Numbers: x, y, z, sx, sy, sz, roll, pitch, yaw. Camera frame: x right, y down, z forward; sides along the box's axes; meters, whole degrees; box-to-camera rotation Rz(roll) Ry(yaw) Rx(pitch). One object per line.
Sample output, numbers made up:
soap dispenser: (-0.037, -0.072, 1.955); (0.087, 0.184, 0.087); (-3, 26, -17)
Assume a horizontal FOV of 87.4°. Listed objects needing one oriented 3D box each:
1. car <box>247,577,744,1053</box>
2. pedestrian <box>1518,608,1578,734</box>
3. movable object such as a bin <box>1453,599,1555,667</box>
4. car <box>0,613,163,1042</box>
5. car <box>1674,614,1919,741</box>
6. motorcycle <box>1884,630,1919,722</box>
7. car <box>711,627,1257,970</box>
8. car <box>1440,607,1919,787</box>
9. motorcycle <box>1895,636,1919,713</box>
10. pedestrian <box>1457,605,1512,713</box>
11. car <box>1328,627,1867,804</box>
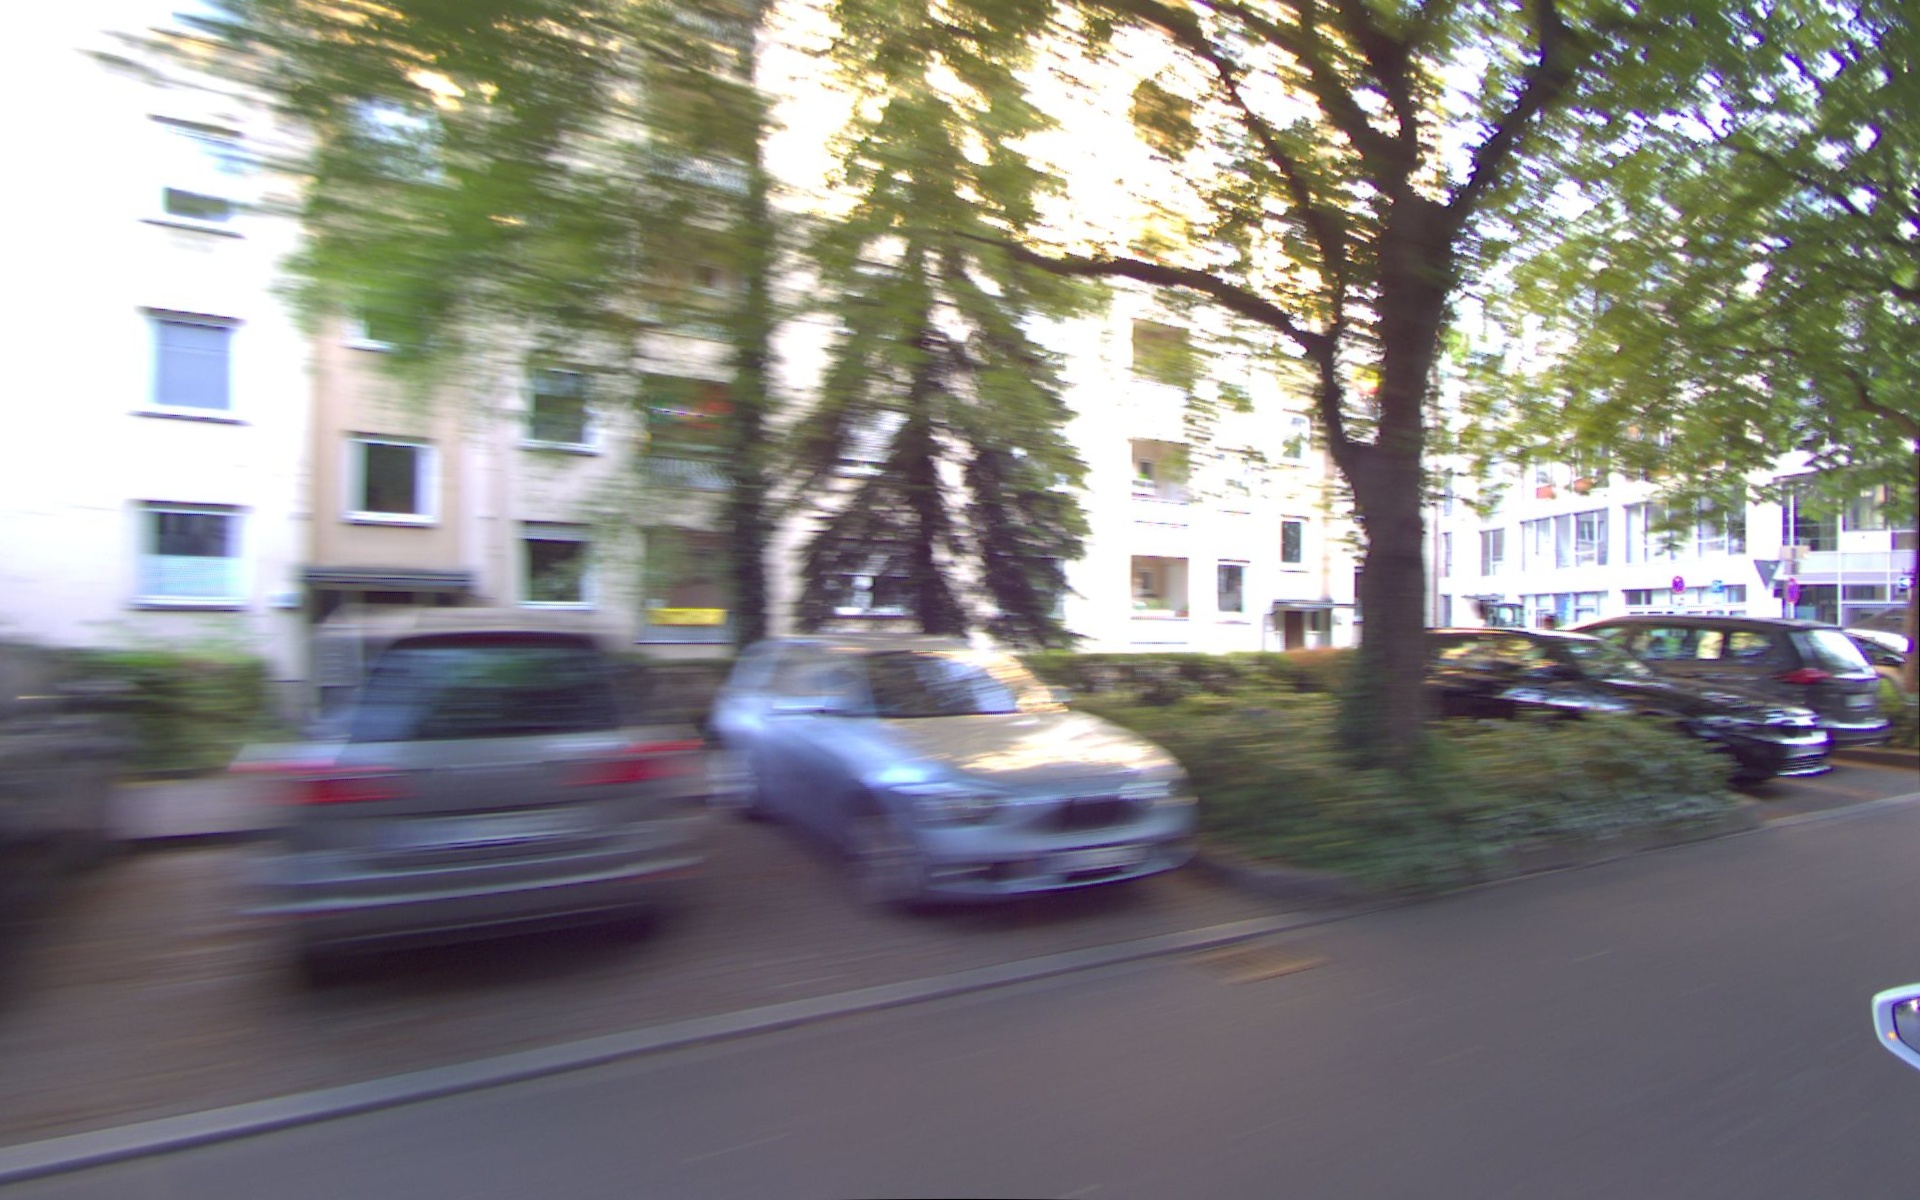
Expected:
car: (-2.551, 0.780, 5.370); (1.741, 1.630, 3.388); (1, -1, -31)
pedestrian: (8.703, 1.030, 14.882); (0.685, 1.812, 0.529); (0, -1, 21)
movable object such as a bin: (22.516, 1.367, 41.765); (1.768, 2.669, 4.108); (1, -1, -5)
car: (-4.833, 0.815, 4.381); (1.645, 1.526, 3.388); (1, -1, -31)
car: (13.231, 1.083, 14.367); (2.029, 1.602, 4.480); (2, 0, -28)
motorcycle: (16.344, 1.243, 16.060); (0.682, 1.513, 2.209); (1, -1, -27)
car: (-0.198, 0.950, 6.674); (1.727, 1.398, 4.079); (1, 0, -31)
car: (8.562, 0.996, 12.393); (2.040, 1.707, 4.373); (1, 0, -31)
motorcycle: (17.967, 1.359, 17.827); (0.709, 1.392, 2.225); (1, -1, 2)
pedestrian: (7.886, 0.876, 15.117); (0.440, 1.592, 0.660); (1, -1, -9)
car: (6.728, 1.076, 11.225); (2.048, 1.443, 4.692); (1, -1, -31)
